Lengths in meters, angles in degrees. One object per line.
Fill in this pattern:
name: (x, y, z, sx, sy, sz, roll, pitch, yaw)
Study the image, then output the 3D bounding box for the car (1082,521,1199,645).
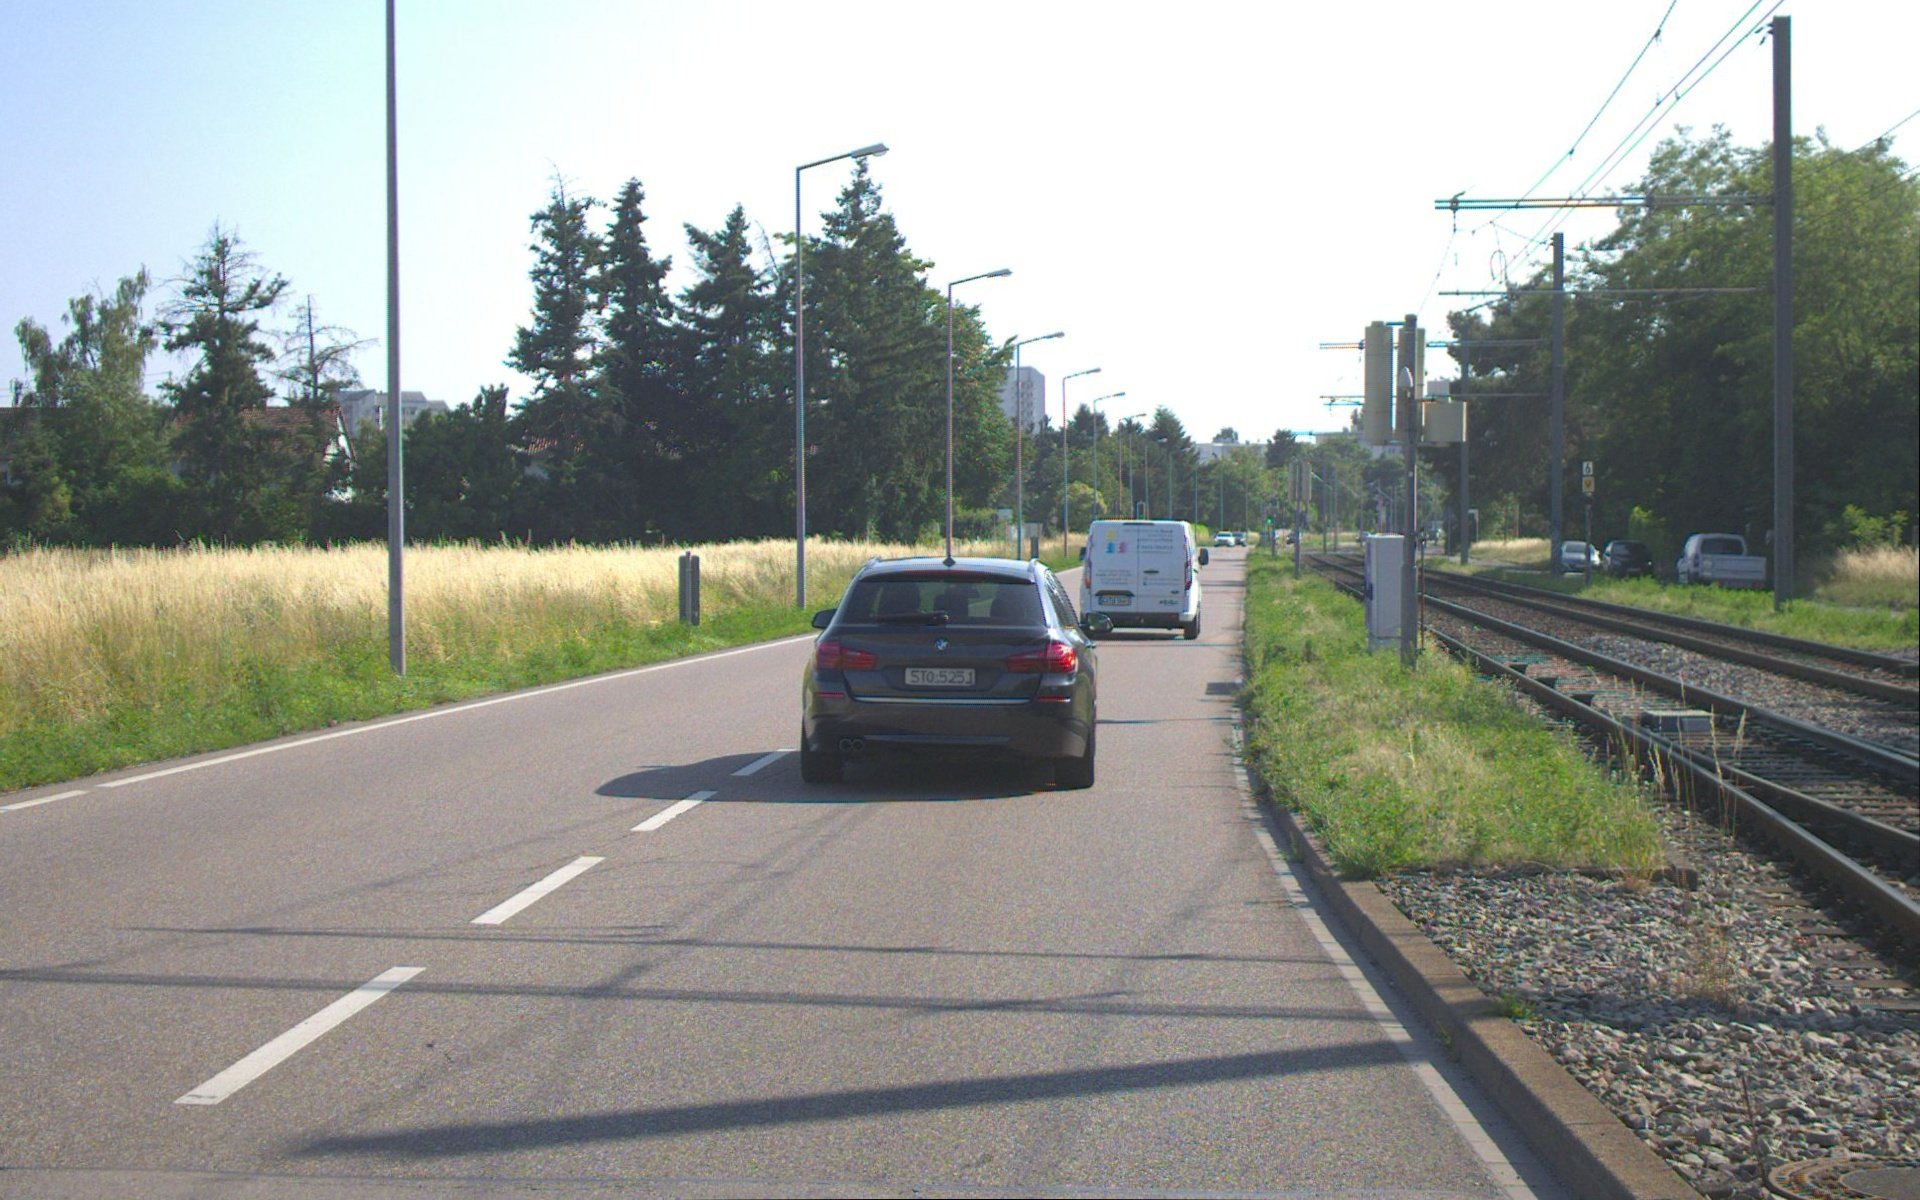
car: (3.097, -0.342, 58.799, 1.858, 1.981, 5.108, 1, 1, 3)

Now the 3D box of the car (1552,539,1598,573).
car: (26.798, -1.905, 149.926, 1.621, 1.394, 3.489, 2, 0, 5)

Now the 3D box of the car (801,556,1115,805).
car: (0.024, 0.456, 23.193, 1.869, 1.447, 4.744, 1, 1, 1)

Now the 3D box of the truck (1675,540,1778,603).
truck: (23.128, -0.883, 103.971, 2.205, 1.813, 5.929, 1, 1, 4)

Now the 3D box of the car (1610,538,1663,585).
car: (25.913, -1.465, 131.771, 1.735, 1.674, 3.543, 2, 0, 7)
